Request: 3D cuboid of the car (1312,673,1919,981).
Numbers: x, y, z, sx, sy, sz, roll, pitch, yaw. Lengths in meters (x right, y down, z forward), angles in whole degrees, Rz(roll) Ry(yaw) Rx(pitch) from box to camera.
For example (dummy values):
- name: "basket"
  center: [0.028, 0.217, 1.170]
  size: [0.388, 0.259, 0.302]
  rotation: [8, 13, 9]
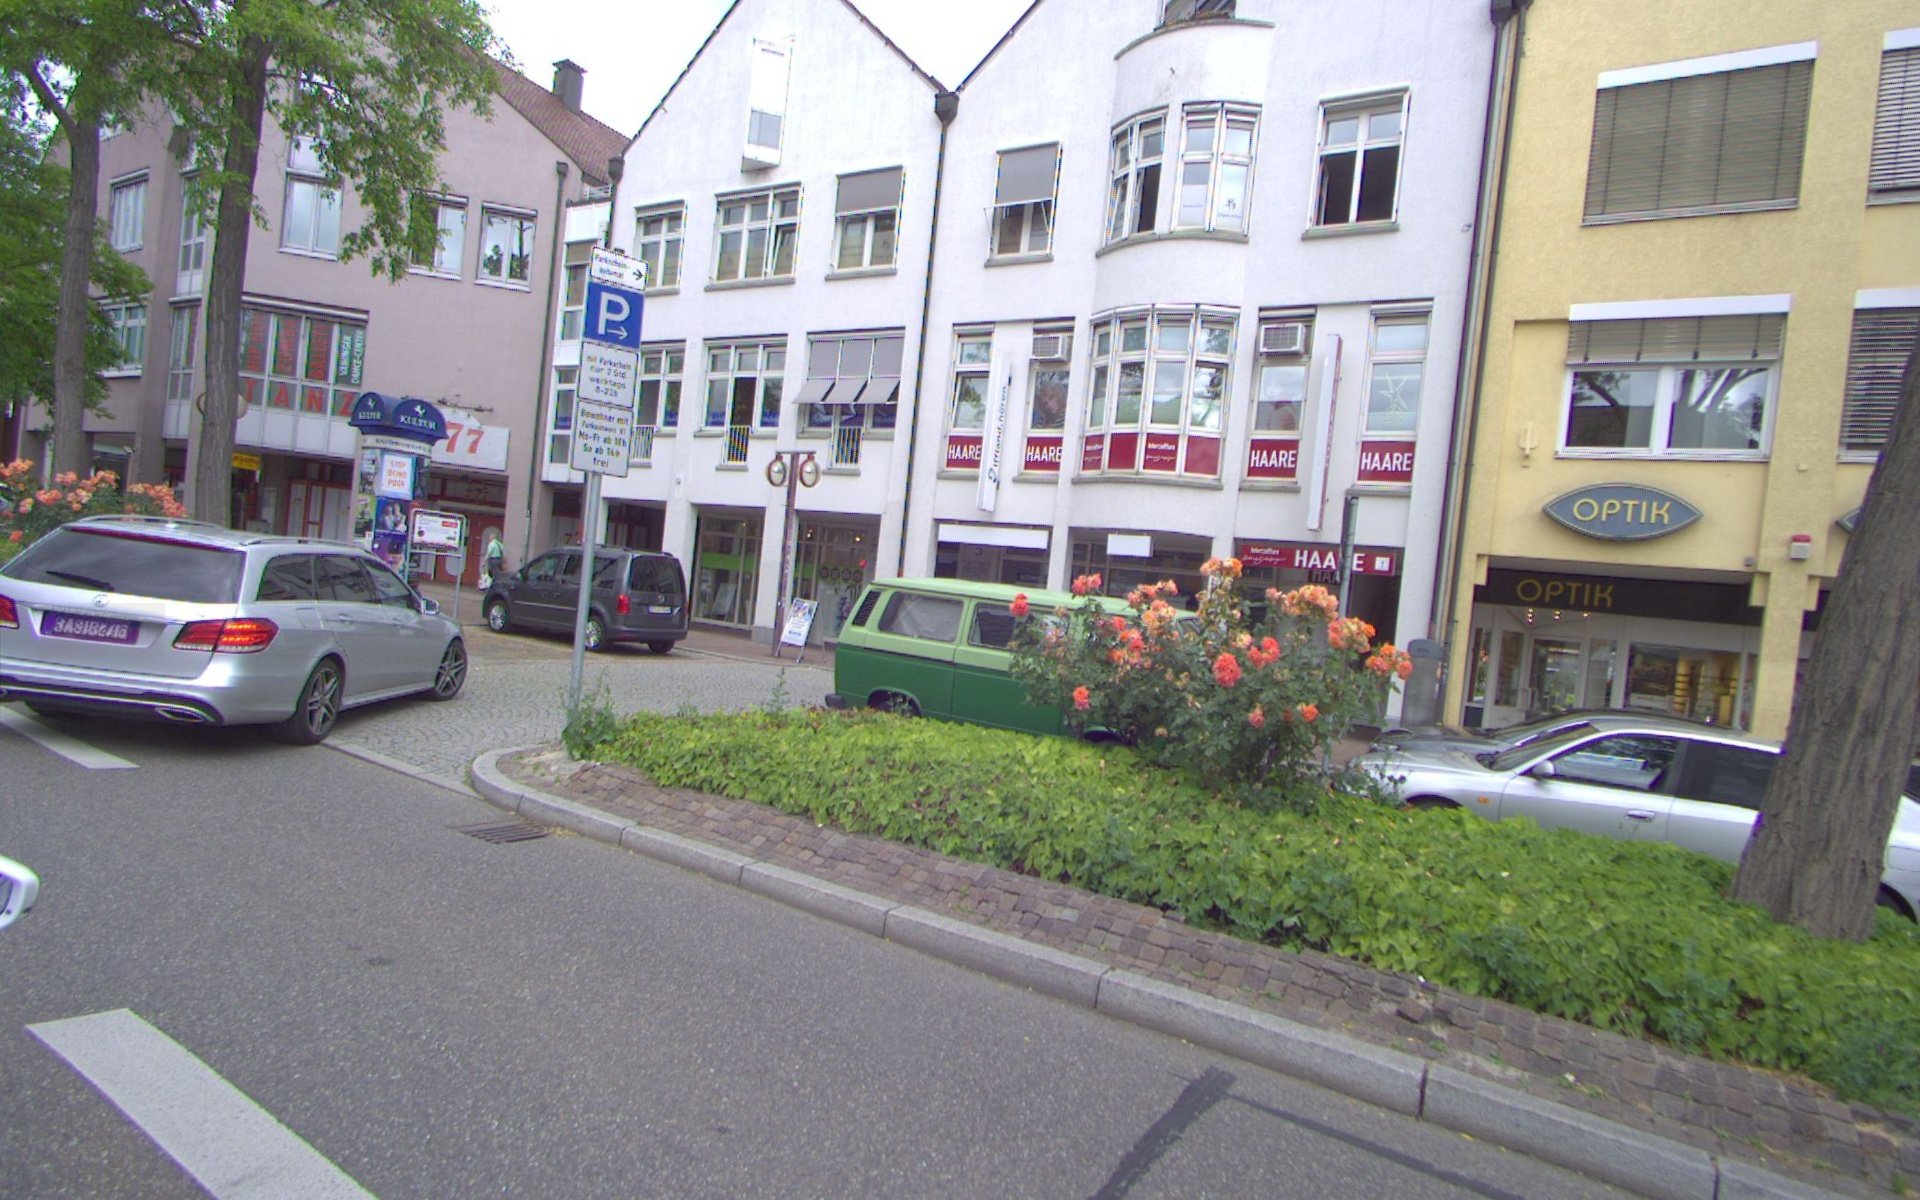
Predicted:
- name: "car"
  center: [5.320, 1.622, 8.083]
  size: [4.344, 1.468, 1.765]
  rotation: [7, 0, 30]

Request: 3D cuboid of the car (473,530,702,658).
- name: "car"
  center: [-6.904, -0.116, 18.583]
  size: [3.898, 1.855, 1.640]
  rotation: [7, 1, 27]

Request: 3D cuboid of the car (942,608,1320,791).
- name: "car"
  center: [2.138, 1.144, 12.929]
  size: [4.319, 1.562, 1.798]
  rotation: [7, 1, 30]

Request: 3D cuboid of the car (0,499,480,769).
- name: "car"
  center: [-5.694, 0.196, 8.300]
  size: [1.790, 1.465, 4.363]
  rotation: [8, -1, -9]

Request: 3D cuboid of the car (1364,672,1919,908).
- name: "car"
  center: [6.747, 1.762, 10.534]
  size: [4.344, 1.394, 1.999]
  rotation: [7, 1, 30]

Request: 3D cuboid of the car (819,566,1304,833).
- name: "car"
  center: [0.978, 0.861, 10.532]
  size: [4.527, 1.900, 1.882]
  rotation: [7, 2, 30]

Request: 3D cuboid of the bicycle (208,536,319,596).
- name: "bicycle"
  center: [-14.243, -0.682, 20.620]
  size: [0.440, 1.009, 1.769]
  rotation: [7, 0, 35]

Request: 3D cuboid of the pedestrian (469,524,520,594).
- name: "pedestrian"
  center: [-12.976, -1.135, 28.052]
  size: [0.805, 1.815, 0.790]
  rotation: [7, 1, 31]

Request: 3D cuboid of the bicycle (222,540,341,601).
- name: "bicycle"
  center: [-13.736, -0.584, 20.418]
  size: [0.460, 1.009, 1.902]
  rotation: [7, 0, 35]

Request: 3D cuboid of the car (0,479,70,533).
- name: "car"
  center: [-37.305, -3.804, 38.655]
  size: [1.305, 1.795, 4.391]
  rotation: [7, 0, 32]
